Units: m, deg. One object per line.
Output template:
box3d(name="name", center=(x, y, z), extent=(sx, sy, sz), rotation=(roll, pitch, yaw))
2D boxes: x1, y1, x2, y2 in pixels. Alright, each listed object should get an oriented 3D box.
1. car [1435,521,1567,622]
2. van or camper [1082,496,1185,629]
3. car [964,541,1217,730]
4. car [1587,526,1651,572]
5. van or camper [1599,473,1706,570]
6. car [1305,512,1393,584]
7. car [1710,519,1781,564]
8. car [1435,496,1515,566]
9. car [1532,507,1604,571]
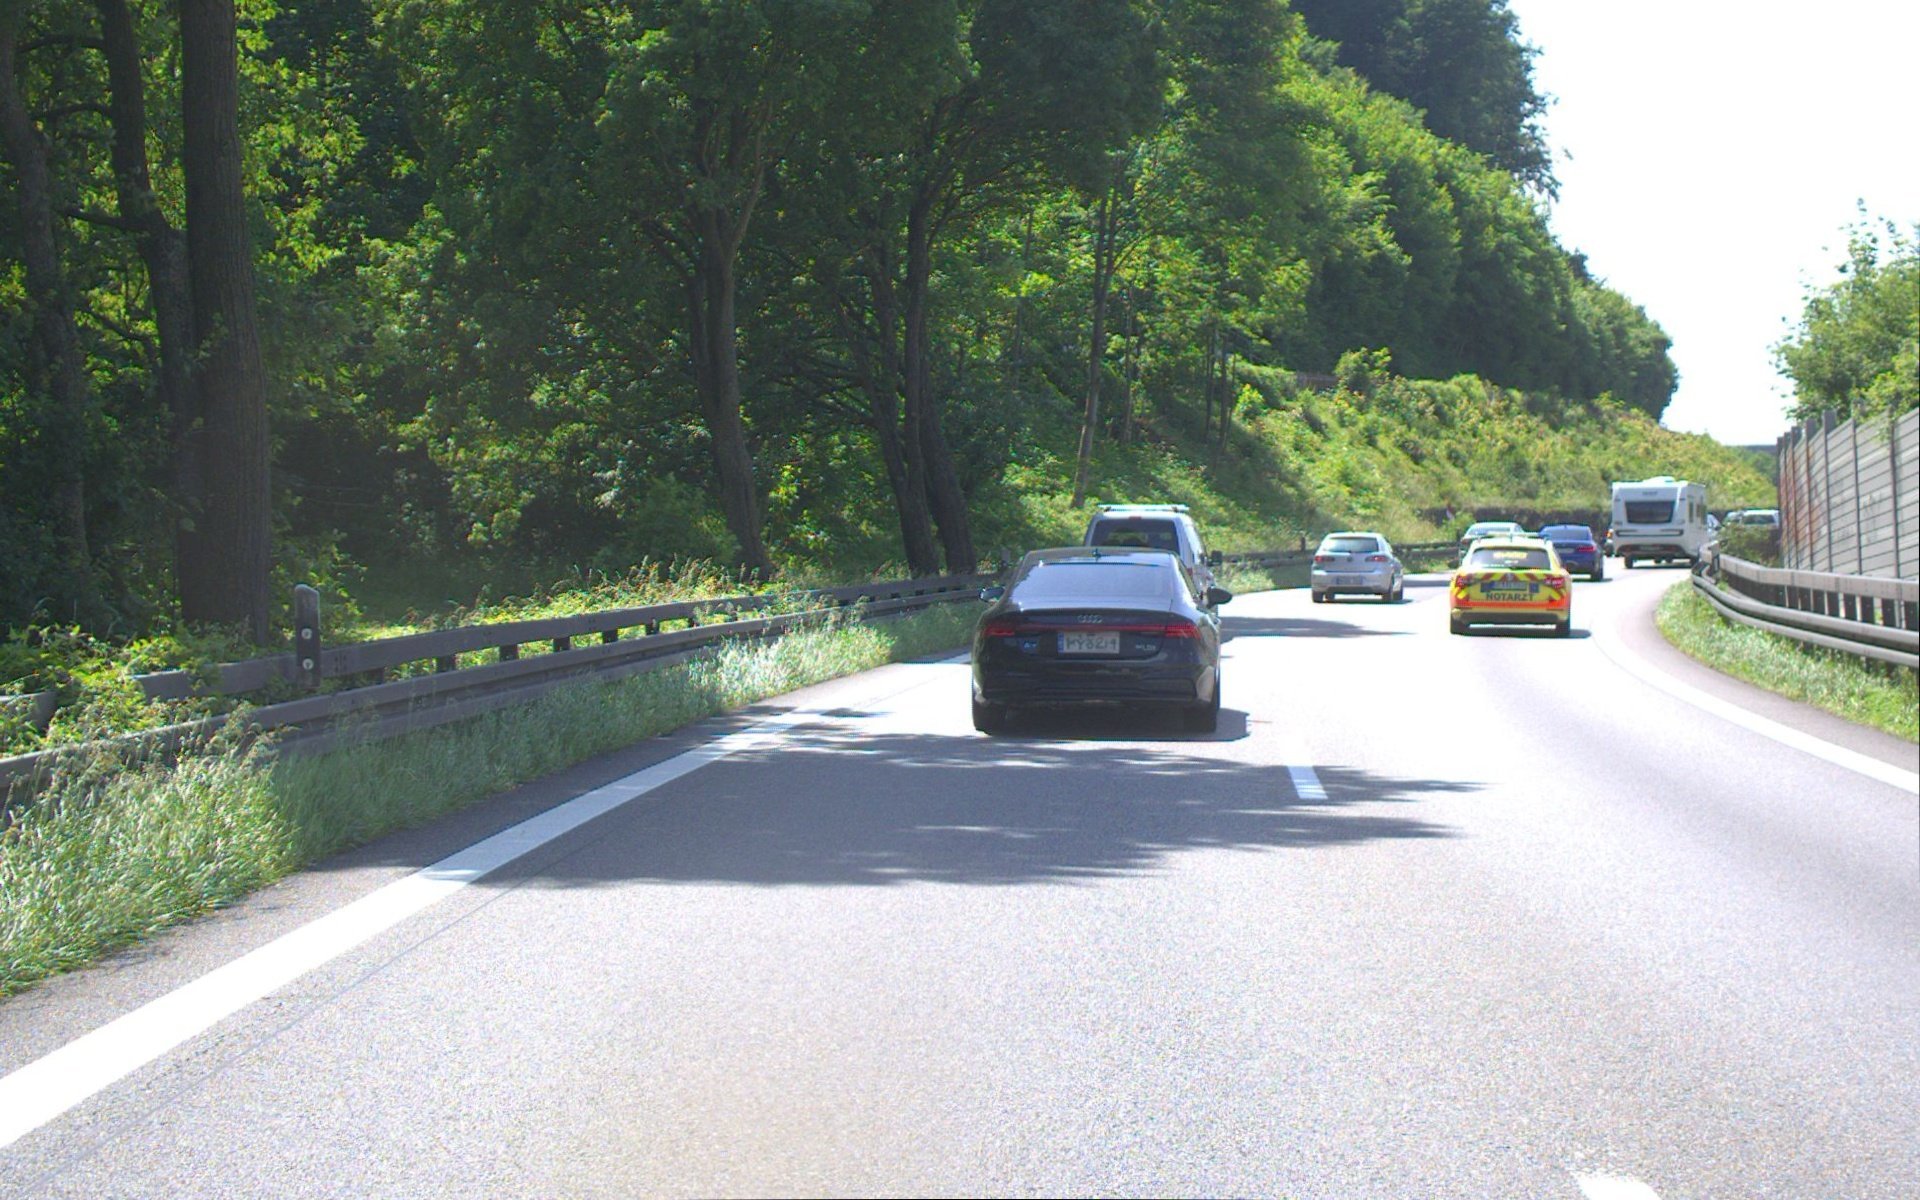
box3d(name="car", center=(8.315, -0.442, 52.629), extent=(1.863, 1.483, 3.998), rotation=(0, 1, 11))
box3d(name="van or camper", center=(2.442, -0.531, 48.709), extent=(1.392, 1.809, 4.000), rotation=(0, 1, 3))
box3d(name="car", center=(1.104, 0.254, 27.411), extent=(1.838, 1.345, 3.999), rotation=(1, 0, 4))
box3d(name="car", center=(25.337, -1.954, 132.071), extent=(1.843, 1.711, 3.996), rotation=(0, 1, 19))
box3d(name="van or camper", center=(21.522, -2.378, 106.593), extent=(2.458, 2.908, 6.120), rotation=(0, 1, 19))
box3d(name="car", center=(8.036, -1.063, 70.861), extent=(1.747, 1.426, 3.999), rotation=(0, 1, 7))
box3d(name="car", center=(30.732, -2.301, 134.392), extent=(1.996, 1.711, 3.995), rotation=(0, 1, 23))
box3d(name="car", center=(15.238, -2.063, 101.602), extent=(1.995, 2.007, 3.998), rotation=(0, 1, 13))
box3d(name="car", center=(16.039, -1.630, 90.876), extent=(1.774, 1.631, 3.999), rotation=(-1, 1, 9))
